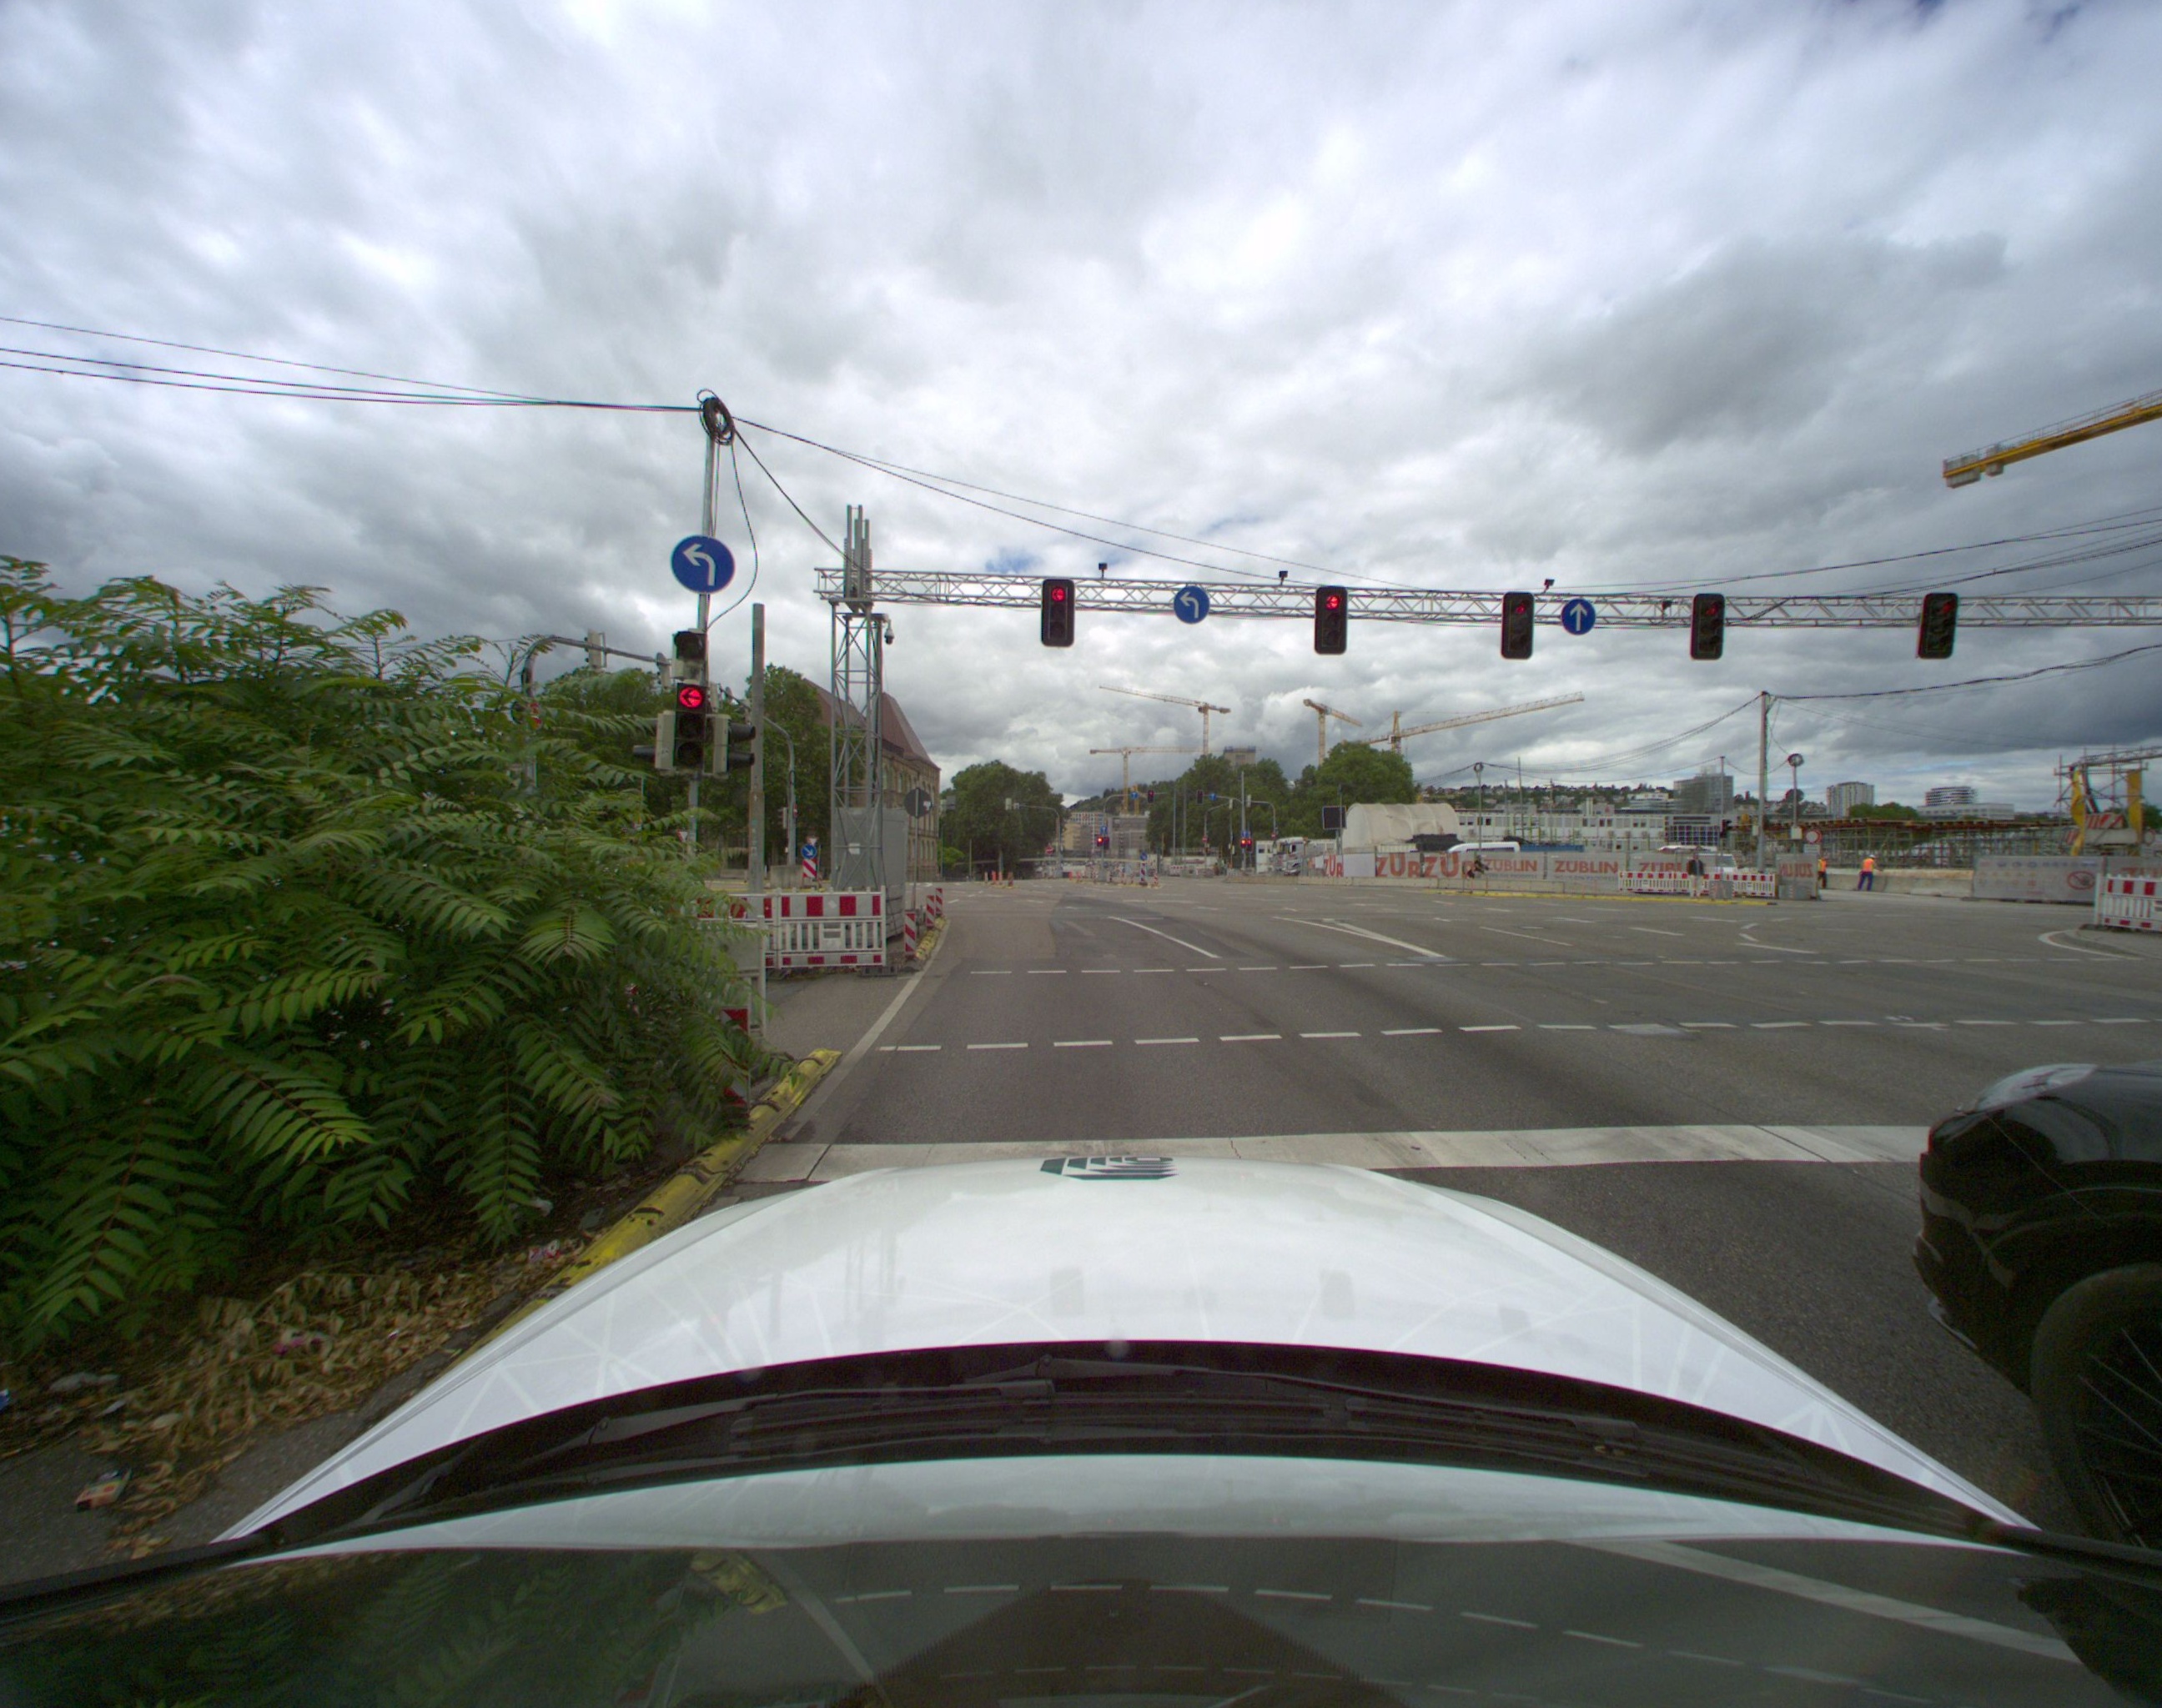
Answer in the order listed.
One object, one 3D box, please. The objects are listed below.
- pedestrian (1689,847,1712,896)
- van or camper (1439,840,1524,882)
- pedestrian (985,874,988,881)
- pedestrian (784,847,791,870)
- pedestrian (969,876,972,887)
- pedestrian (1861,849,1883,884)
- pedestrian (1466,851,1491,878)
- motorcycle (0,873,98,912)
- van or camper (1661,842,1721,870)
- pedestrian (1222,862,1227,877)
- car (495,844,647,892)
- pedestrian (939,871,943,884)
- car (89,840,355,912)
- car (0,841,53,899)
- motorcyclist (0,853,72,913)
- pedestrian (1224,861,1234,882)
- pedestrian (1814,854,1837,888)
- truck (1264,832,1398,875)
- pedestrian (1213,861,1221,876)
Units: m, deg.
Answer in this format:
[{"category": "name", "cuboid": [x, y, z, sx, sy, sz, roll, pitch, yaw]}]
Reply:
[{"category": "pedestrian", "cuboid": [25.663, 0.727, 33.742, 0.645, 2.013, 0.520, 0, 0, 27]}, {"category": "van or camper", "cuboid": [23.150, 0.417, 47.211, 4.181, 2.357, 2.009, 0, 0, 16]}, {"category": "pedestrian", "cuboid": [-20.577, 5.068, 177.757, 0.534, 1.592, 0.515, 0, 0, -2]}, {"category": "pedestrian", "cuboid": [-26.714, 0.414, 74.119, 0.530, 2.014, 0.423, 1, -1, -42]}, {"category": "pedestrian", "cuboid": [-21.001, 5.180, 155.039, 0.522, 2.014, 0.567, 0, 0, 2]}, {"category": "pedestrian", "cuboid": [39.055, 0.605, 40.213, 0.651, 1.717, 0.516, 0, 0, -9]}, {"category": "pedestrian", "cuboid": [20.498, 0.514, 41.966, 0.803, 1.378, 0.895, 0, 0, -37]}, {"category": "motorcycle", "cuboid": [-25.475, 0.926, 19.824, 2.051, 0.924, 0.756, 0, 0, -4]}, {"category": "van or camper", "cuboid": [64.983, 0.218, 86.746, 5.282, 2.911, 1.993, 0, -1, -10]}, {"category": "pedestrian", "cuboid": [16.094, 1.717, 91.397, 0.564, 1.689, 0.472, 0, 0, 1]}, {"category": "car", "cuboid": [-18.822, 0.498, 30.261, 4.315, 1.676, 1.992, 0, 0, -12]}, {"category": "pedestrian", "cuboid": [-20.882, 3.491, 121.320, 0.522, 2.014, 0.567, 0, 0, 2]}, {"category": "car", "cuboid": [-21.199, 0.525, 20.271, 4.302, 1.676, 1.998, 0, 0, -3]}, {"category": "car", "cuboid": [-33.021, 0.450, 23.362, 4.302, 1.676, 1.998, 0, 0, -3]}, {"category": "motorcyclist", "cuboid": [-25.625, 0.699, 19.895, 0.963, 1.423, 0.745, 0, 0, -4]}, {"category": "pedestrian", "cuboid": [12.252, 1.426, 67.371, 0.726, 1.689, 0.678, 0, 0, 1]}, {"category": "pedestrian", "cuboid": [38.808, 0.876, 42.478, 0.651, 1.795, 0.617, 0, 0, -9]}, {"category": "truck", "cuboid": [25.039, -0.036, 81.597, 13.062, 4.041, 3.926, 0, 0, -18]}, {"category": "pedestrian", "cuboid": [15.264, 1.590, 91.350, 0.726, 1.689, 0.678, 0, 0, 1]}]
